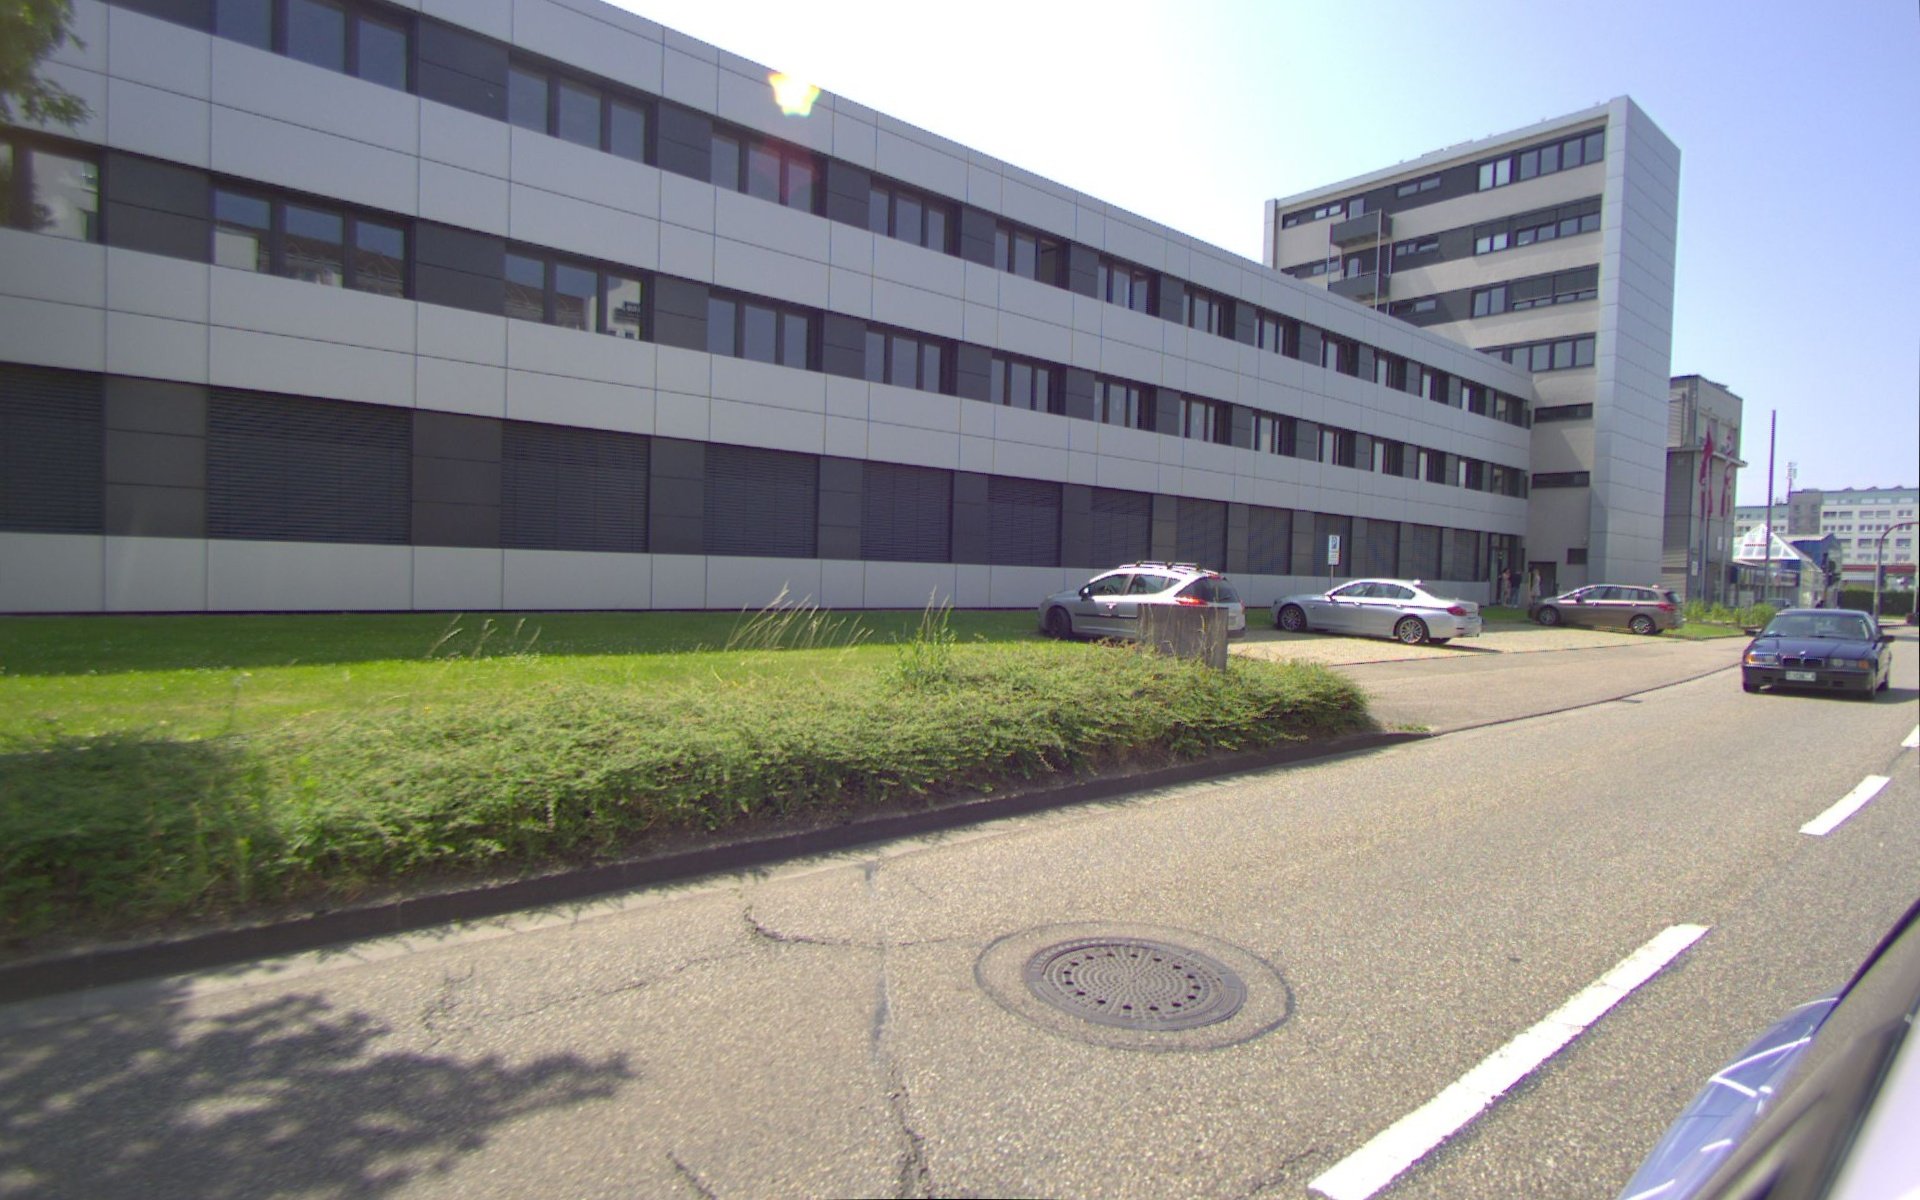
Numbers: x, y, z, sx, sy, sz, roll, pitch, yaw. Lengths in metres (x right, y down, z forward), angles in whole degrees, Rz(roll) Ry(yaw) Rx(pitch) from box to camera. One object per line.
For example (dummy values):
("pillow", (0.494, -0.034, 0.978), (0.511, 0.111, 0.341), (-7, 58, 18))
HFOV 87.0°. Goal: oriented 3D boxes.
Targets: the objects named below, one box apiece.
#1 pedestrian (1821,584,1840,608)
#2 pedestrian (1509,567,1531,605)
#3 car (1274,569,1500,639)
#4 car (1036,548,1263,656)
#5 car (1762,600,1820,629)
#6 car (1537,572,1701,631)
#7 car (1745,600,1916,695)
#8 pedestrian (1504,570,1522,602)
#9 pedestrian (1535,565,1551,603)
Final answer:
("pedestrian", (61.330, -0.307, 71.301), (0.837, 1.647, 0.812), (0, 2, -37))
("pedestrian", (24.738, -0.607, 44.724), (0.513, 1.654, 0.595), (1, 2, -32))
("car", (10.156, 0.033, 24.335), (1.967, 1.407, 4.618), (0, 3, -44))
("car", (3.428, -0.045, 18.818), (1.704, 1.611, 3.818), (0, 5, -44))
("car", (47.498, 0.798, 57.803), (4.122, 1.550, 1.848), (0, 1, -40))
("car", (22.206, 0.002, 34.219), (1.967, 1.709, 4.264), (-1, 4, -44))
("car", (14.417, 0.699, 16.705), (3.691, 1.356, 1.631), (0, 1, -41))
("pedestrian", (25.033, -0.648, 45.842), (0.521, 1.422, 0.788), (3, 2, 40))
("pedestrian", (25.951, -0.723, 45.075), (0.519, 1.683, 0.748), (3, 2, 32))
